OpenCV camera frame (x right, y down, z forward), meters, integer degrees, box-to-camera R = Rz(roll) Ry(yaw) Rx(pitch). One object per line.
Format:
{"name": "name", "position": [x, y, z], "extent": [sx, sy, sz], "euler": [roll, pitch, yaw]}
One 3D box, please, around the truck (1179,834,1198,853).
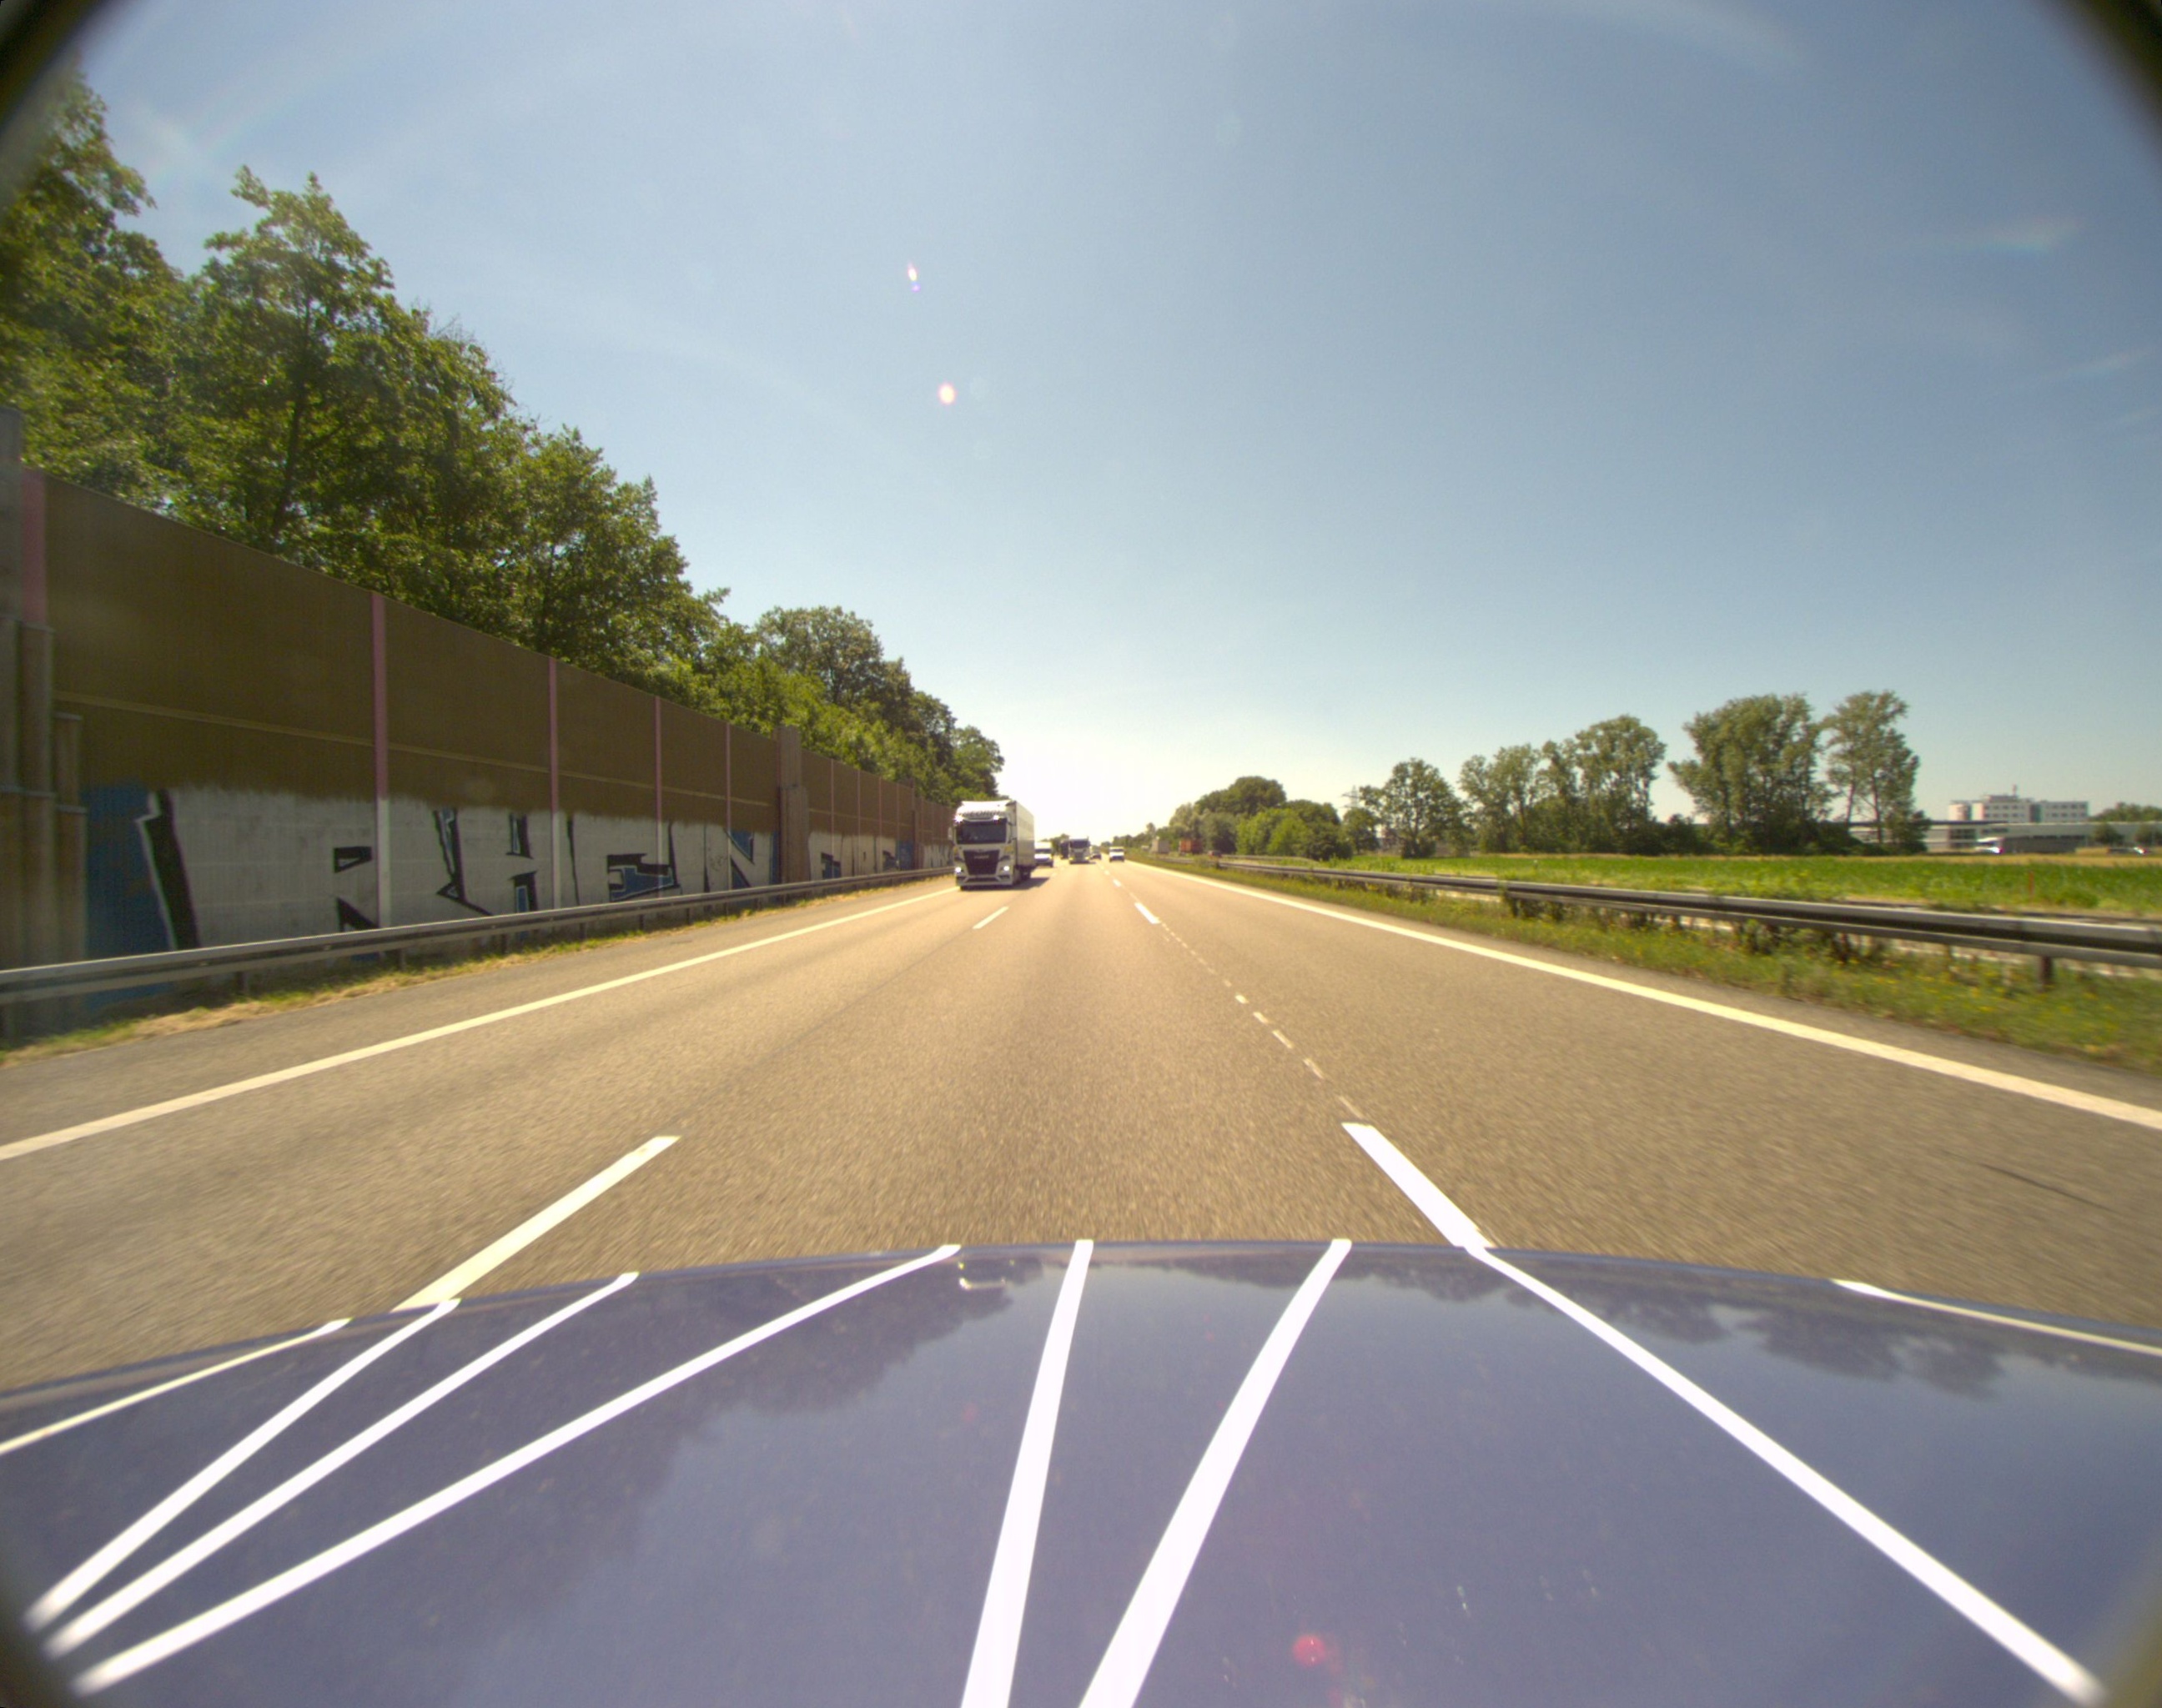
{"name": "truck", "position": [22.857, -2.316, 162.075], "extent": [2.655, 3.862, 10.825], "euler": [2, 1, 0]}

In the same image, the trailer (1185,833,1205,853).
{"name": "trailer", "position": [22.804, -2.224, 152.310], "extent": [2.665, 3.897, 8.660], "euler": [2, 1, 0]}

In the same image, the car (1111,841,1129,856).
{"name": "car", "position": [5.186, -0.760, 101.595], "extent": [2.147, 1.810, 5.266], "euler": [-2, 1, 1]}

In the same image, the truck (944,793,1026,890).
{"name": "truck", "position": [-4.325, -0.573, 35.319], "extent": [3.010, 4.101, 5.252], "euler": [-2, 1, 0]}

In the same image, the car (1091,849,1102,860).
{"name": "car", "position": [2.542, 0.051, 126.239], "extent": [1.796, 1.696, 4.000], "euler": [0, 1, 1]}

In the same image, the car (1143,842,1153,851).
{"name": "car", "position": [21.341, -2.416, 242.346], "extent": [2.553, 2.965, 8.084], "euler": [0, 1, 2]}

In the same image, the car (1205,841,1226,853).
{"name": "car", "position": [18.322, -0.979, 103.539], "extent": [1.998, 1.670, 5.551], "euler": [0, 1, 1]}

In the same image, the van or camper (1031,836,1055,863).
{"name": "van or camper", "position": [-3.911, -0.472, 79.567], "extent": [2.027, 2.622, 6.486], "euler": [-2, 1, 0]}

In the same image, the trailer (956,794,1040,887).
{"name": "trailer", "position": [-4.264, -0.721, 42.401], "extent": [3.001, 4.264, 13.416], "euler": [-2, 1, 0]}

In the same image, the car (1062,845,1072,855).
{"name": "car", "position": [-2.803, -0.773, 153.295], "extent": [1.998, 2.002, 4.867], "euler": [0, 1, 0]}

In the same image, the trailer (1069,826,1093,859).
{"name": "trailer", "position": [0.063, -1.505, 100.214], "extent": [2.927, 4.018, 7.315], "euler": [-2, 1, 0]}

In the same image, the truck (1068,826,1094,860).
{"name": "truck", "position": [0.051, -1.413, 95.373], "extent": [2.896, 4.007, 6.868], "euler": [-2, 1, 1]}

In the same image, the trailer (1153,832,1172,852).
{"name": "trailer", "position": [18.973, -2.776, 177.664], "extent": [3.203, 4.397, 13.323], "euler": [0, 1, 0]}
